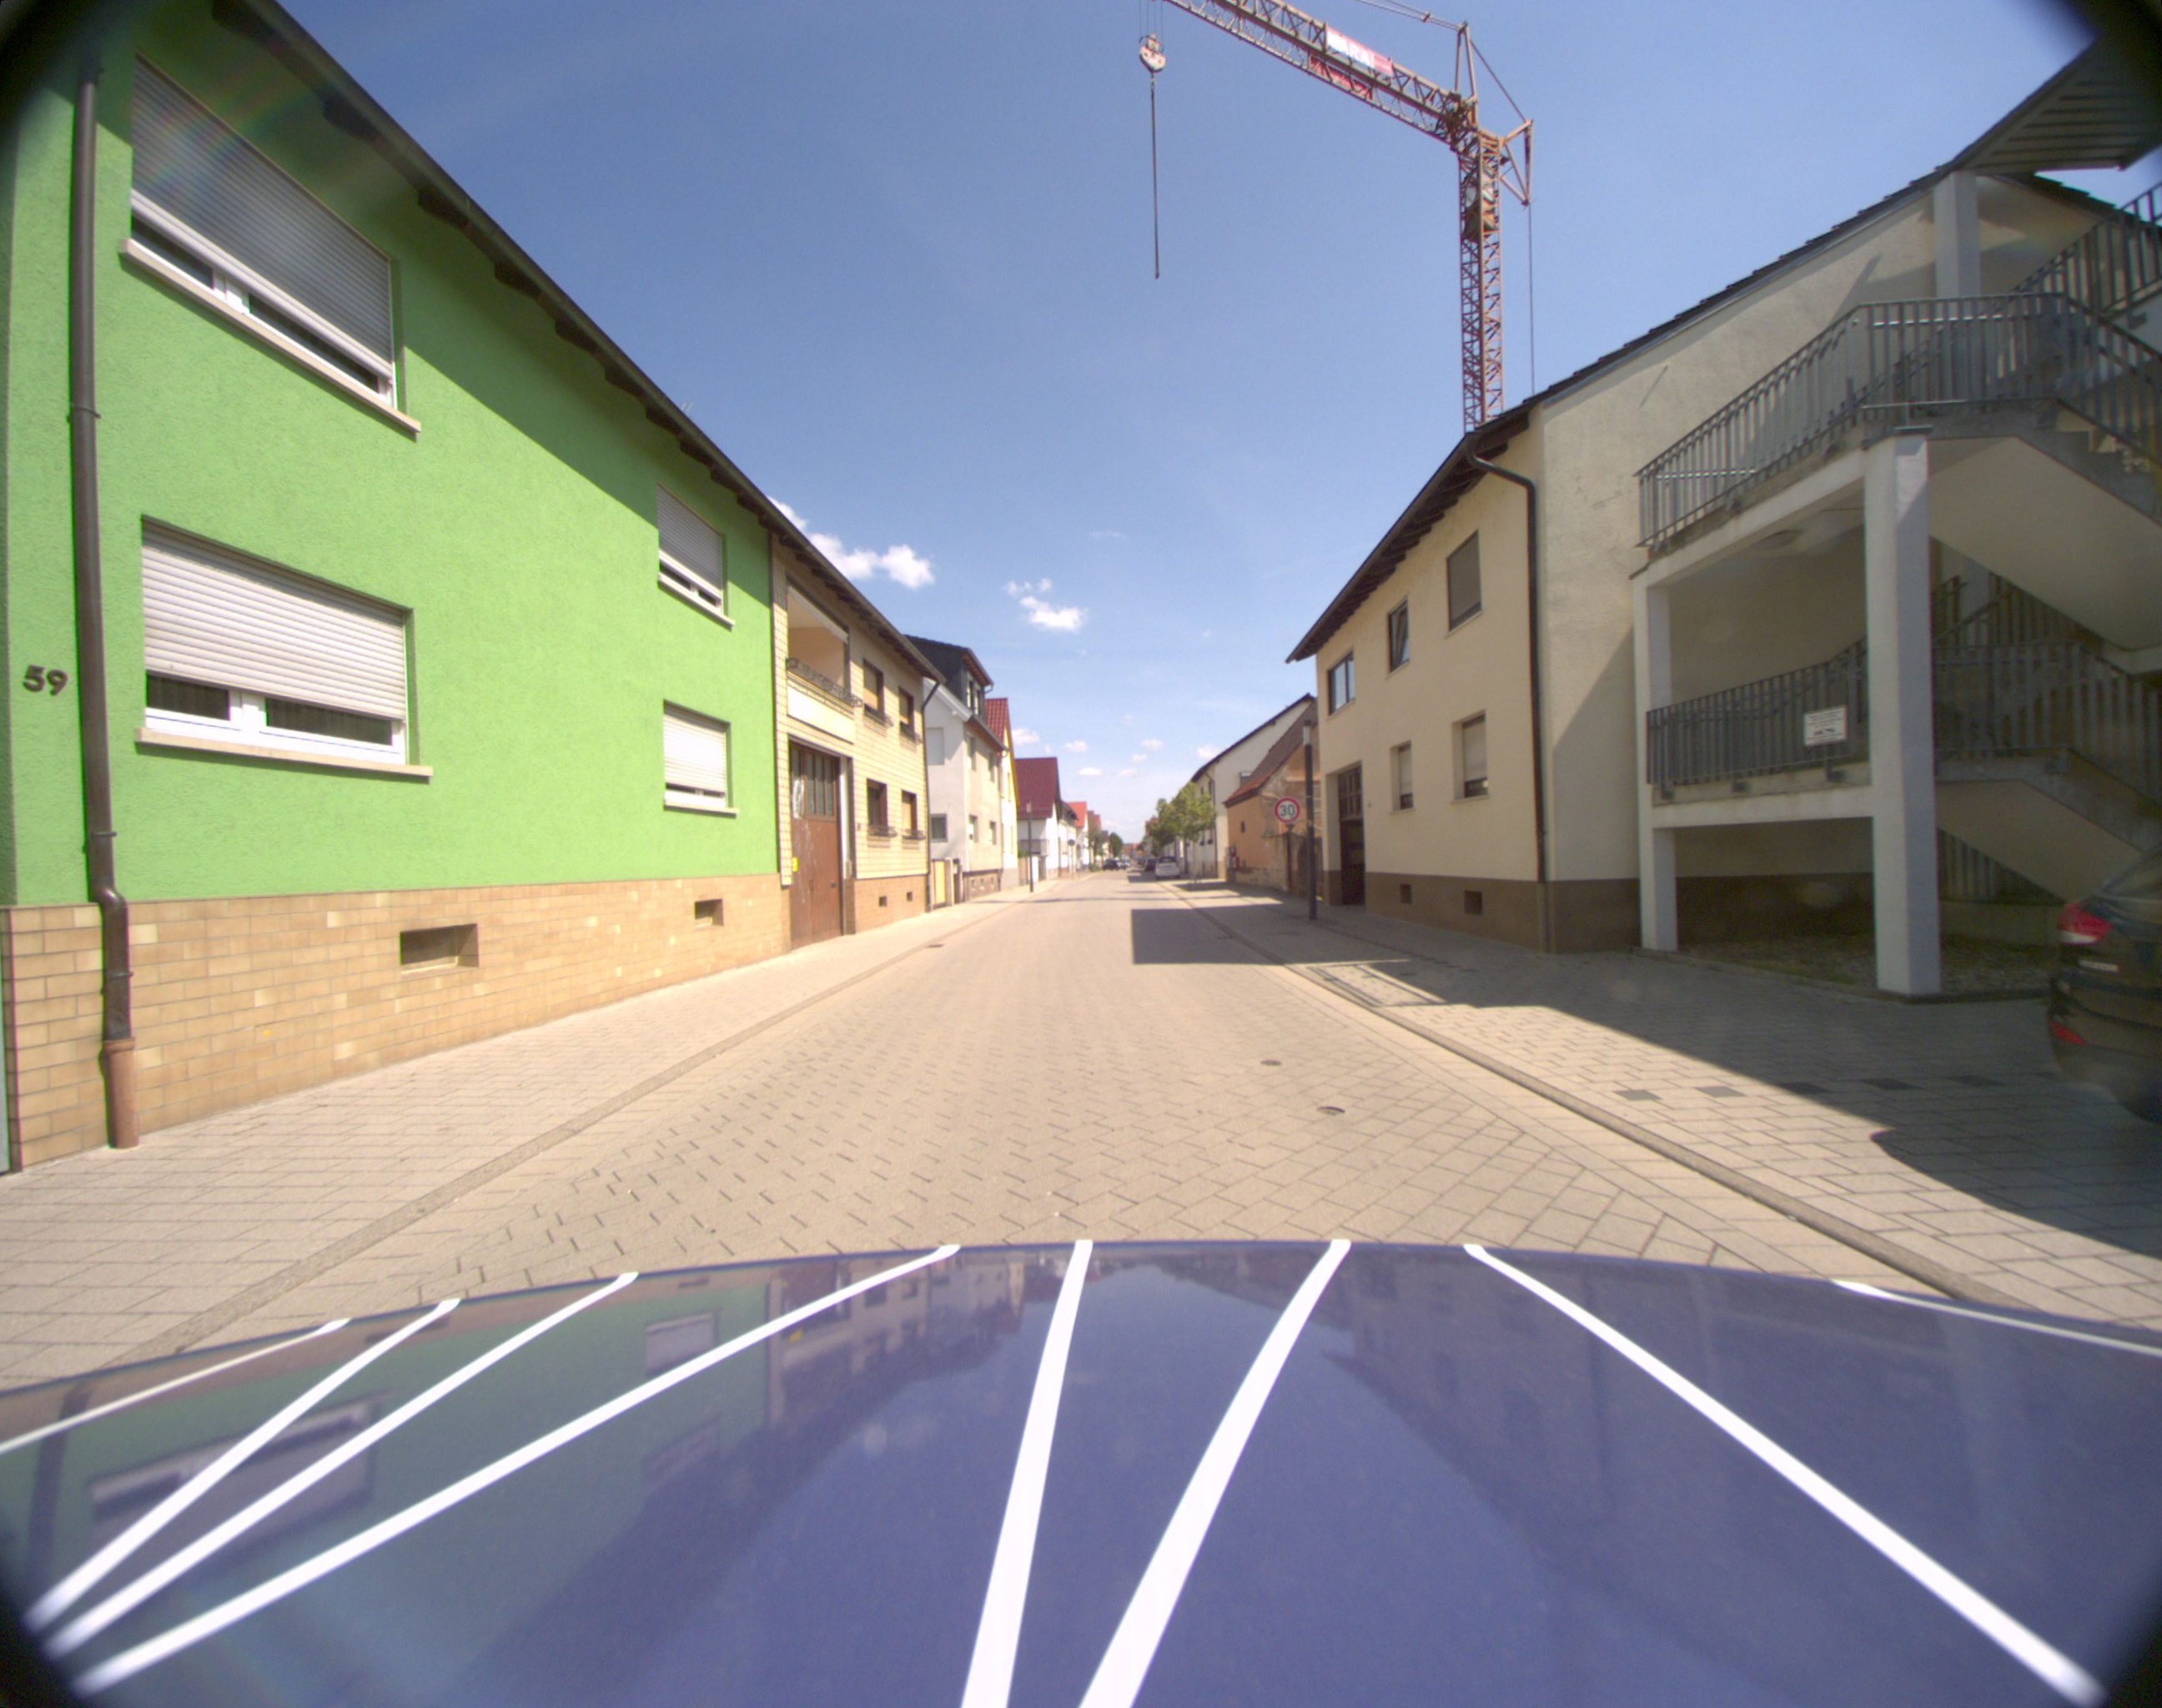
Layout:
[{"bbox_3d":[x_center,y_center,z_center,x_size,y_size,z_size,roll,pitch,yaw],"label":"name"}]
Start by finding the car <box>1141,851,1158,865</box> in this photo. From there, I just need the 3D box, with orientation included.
[{"bbox_3d":[8.034,0.500,89.426,1.751,1.557,3.955,-2,0,2],"label":"car"}]

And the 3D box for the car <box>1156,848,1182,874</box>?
[{"bbox_3d":[5.897,0.435,51.025,1.576,1.552,2.823,-4,0,6],"label":"car"}]

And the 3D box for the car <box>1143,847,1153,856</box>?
[{"bbox_3d":[12.852,-0.503,145.085,1.851,1.688,4.001,-2,0,4],"label":"car"}]

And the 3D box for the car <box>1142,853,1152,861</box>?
[{"bbox_3d":[14.424,0.625,166.439,1.854,1.543,4.000,-2,0,2],"label":"car"}]

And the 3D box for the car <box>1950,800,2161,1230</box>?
[{"bbox_3d":[6.235,0.491,2.594,4.228,1.648,1.785,-4,0,4],"label":"car"}]

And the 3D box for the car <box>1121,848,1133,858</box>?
[{"bbox_3d":[7.799,-0.147,129.341,1.957,1.521,4.001,-2,0,5],"label":"car"}]

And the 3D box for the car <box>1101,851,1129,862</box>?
[{"bbox_3d":[4.639,0.386,103.306,1.730,1.420,3.809,-2,0,-35],"label":"car"}]
